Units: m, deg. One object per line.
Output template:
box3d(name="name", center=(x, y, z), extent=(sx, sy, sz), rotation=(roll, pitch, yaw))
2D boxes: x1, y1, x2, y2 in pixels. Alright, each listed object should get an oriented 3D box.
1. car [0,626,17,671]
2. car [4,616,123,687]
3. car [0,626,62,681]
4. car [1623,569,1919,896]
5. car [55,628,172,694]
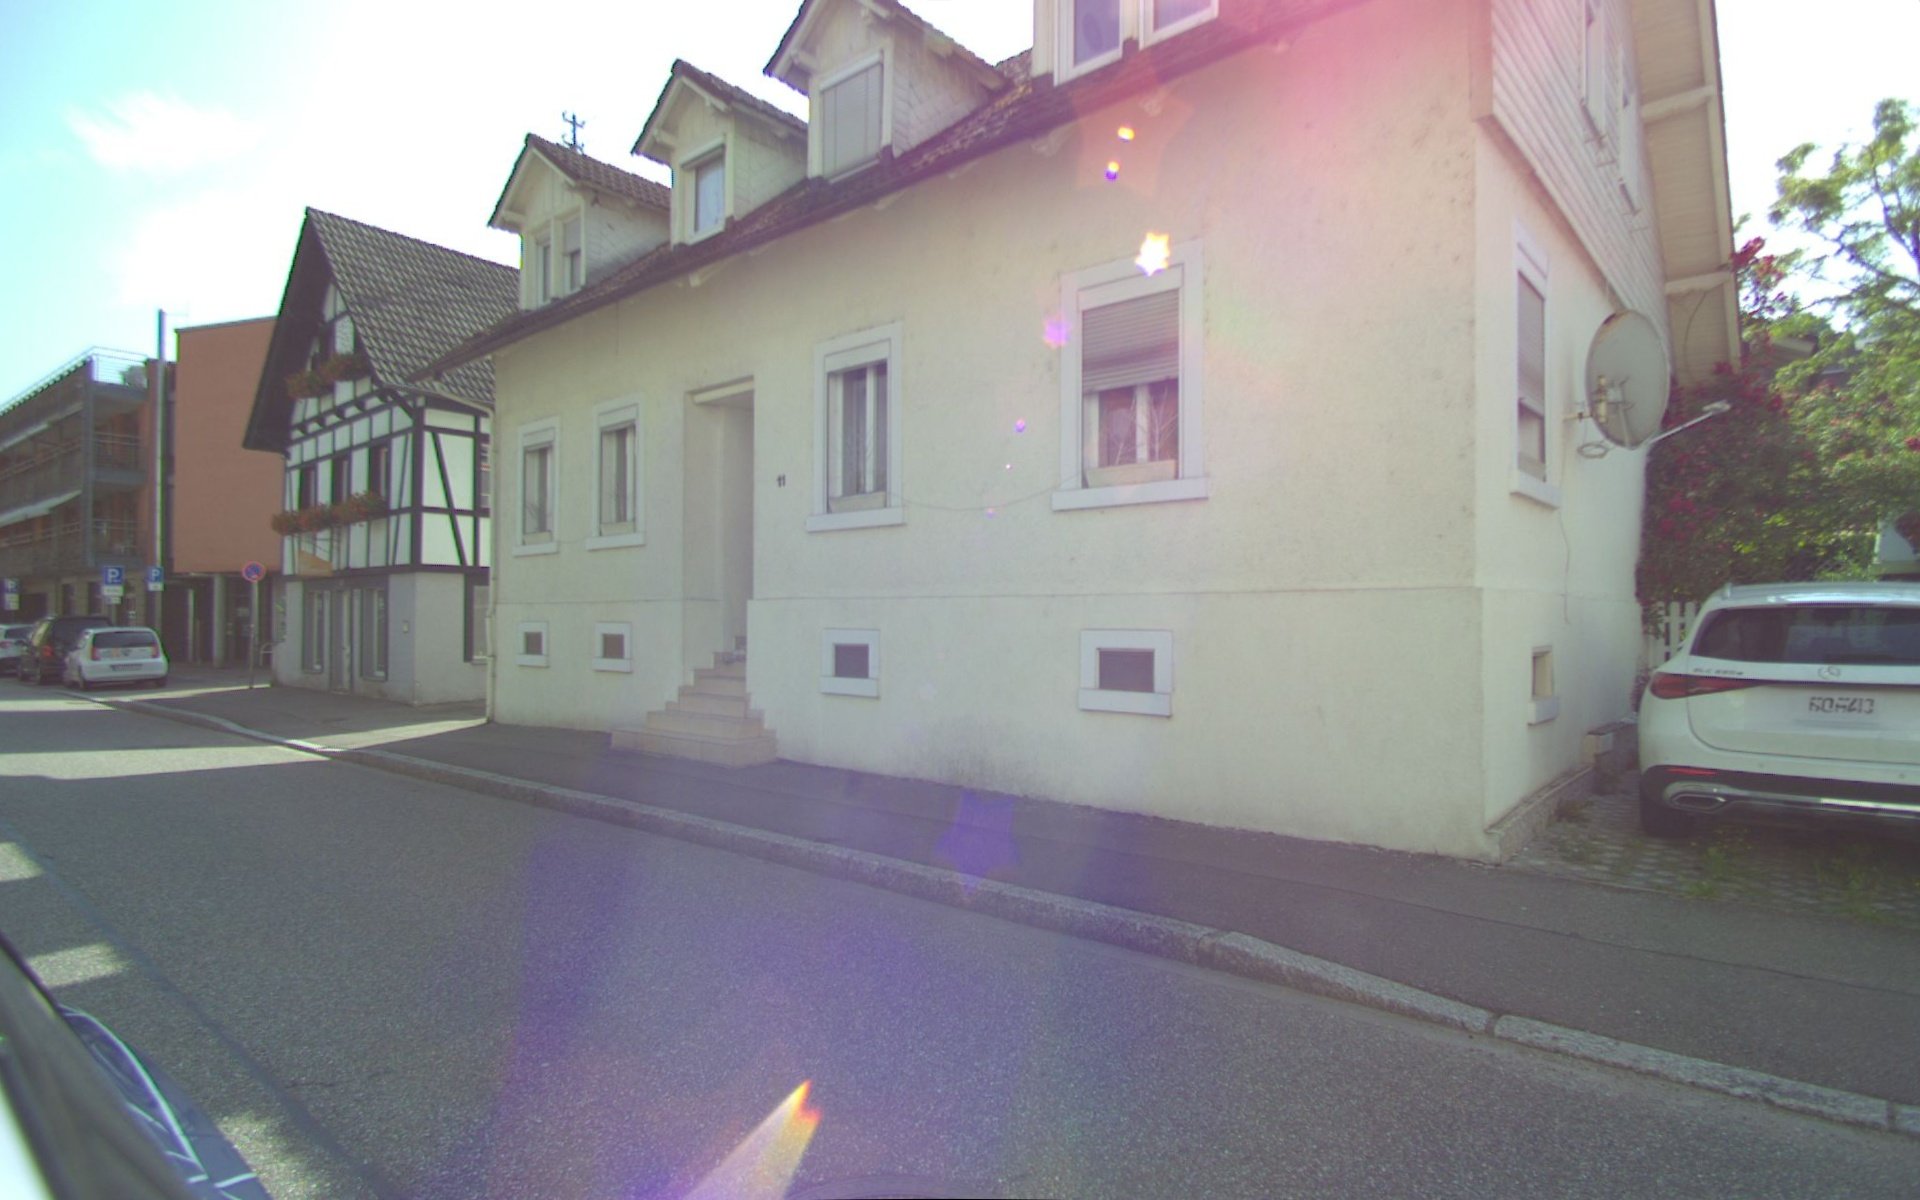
box3d(name="car", center=(-34.694, 1.710, 35.623), extent=(3.760, 1.567, 1.658), rotation=(-2, -1, 39))
box3d(name="car", center=(-24.740, 1.384, 27.885), extent=(4.263, 1.810, 1.703), rotation=(-1, -2, 38))
box3d(name="car", center=(-29.525, 1.645, 31.551), extent=(3.944, 1.601, 1.658), rotation=(-2, -2, 39))
box3d(name="car", center=(5.715, 0.655, 6.691), extent=(1.905, 1.606, 3.949), rotation=(-2, -1, 38))
box3d(name="car", center=(-20.781, 1.464, 24.806), extent=(3.566, 1.443, 1.649), rotation=(-2, -1, 41))
